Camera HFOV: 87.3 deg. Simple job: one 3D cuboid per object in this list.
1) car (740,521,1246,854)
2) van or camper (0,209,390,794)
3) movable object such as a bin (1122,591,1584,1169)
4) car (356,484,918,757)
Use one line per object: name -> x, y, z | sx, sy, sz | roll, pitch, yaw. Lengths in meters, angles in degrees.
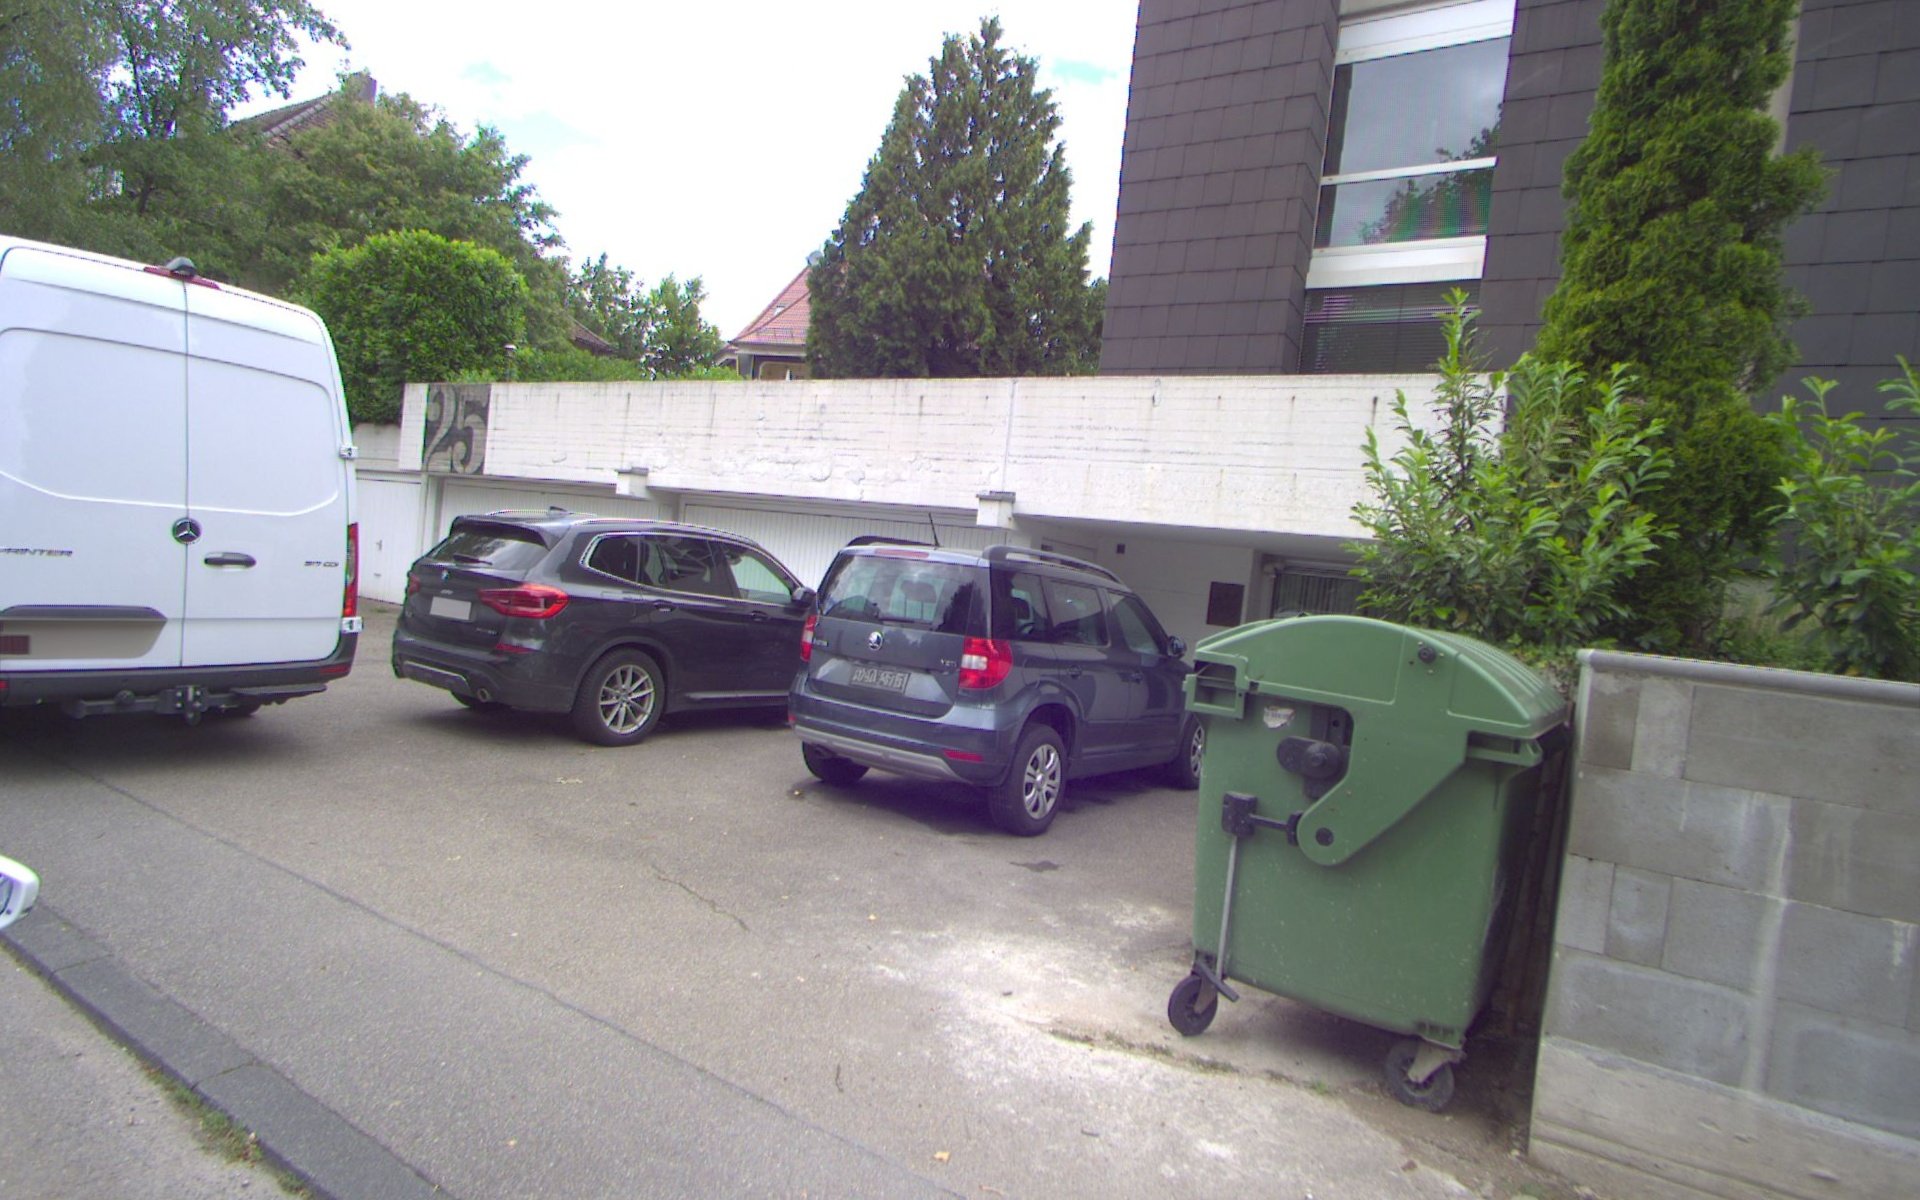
car -> 0.493, 0.510, 7.382 | 1.801, 1.674, 3.796 | 7, 2, 35
van or camper -> -6.662, -0.722, 6.840 | 6.252, 2.664, 1.963 | 7, 4, 31
movable object such as a bin -> 1.429, 0.776, 3.555 | 1.161, 1.470, 1.300 | 6, 2, 31
car -> -2.431, 0.164, 8.711 | 1.800, 1.674, 4.394 | 7, 2, 33
